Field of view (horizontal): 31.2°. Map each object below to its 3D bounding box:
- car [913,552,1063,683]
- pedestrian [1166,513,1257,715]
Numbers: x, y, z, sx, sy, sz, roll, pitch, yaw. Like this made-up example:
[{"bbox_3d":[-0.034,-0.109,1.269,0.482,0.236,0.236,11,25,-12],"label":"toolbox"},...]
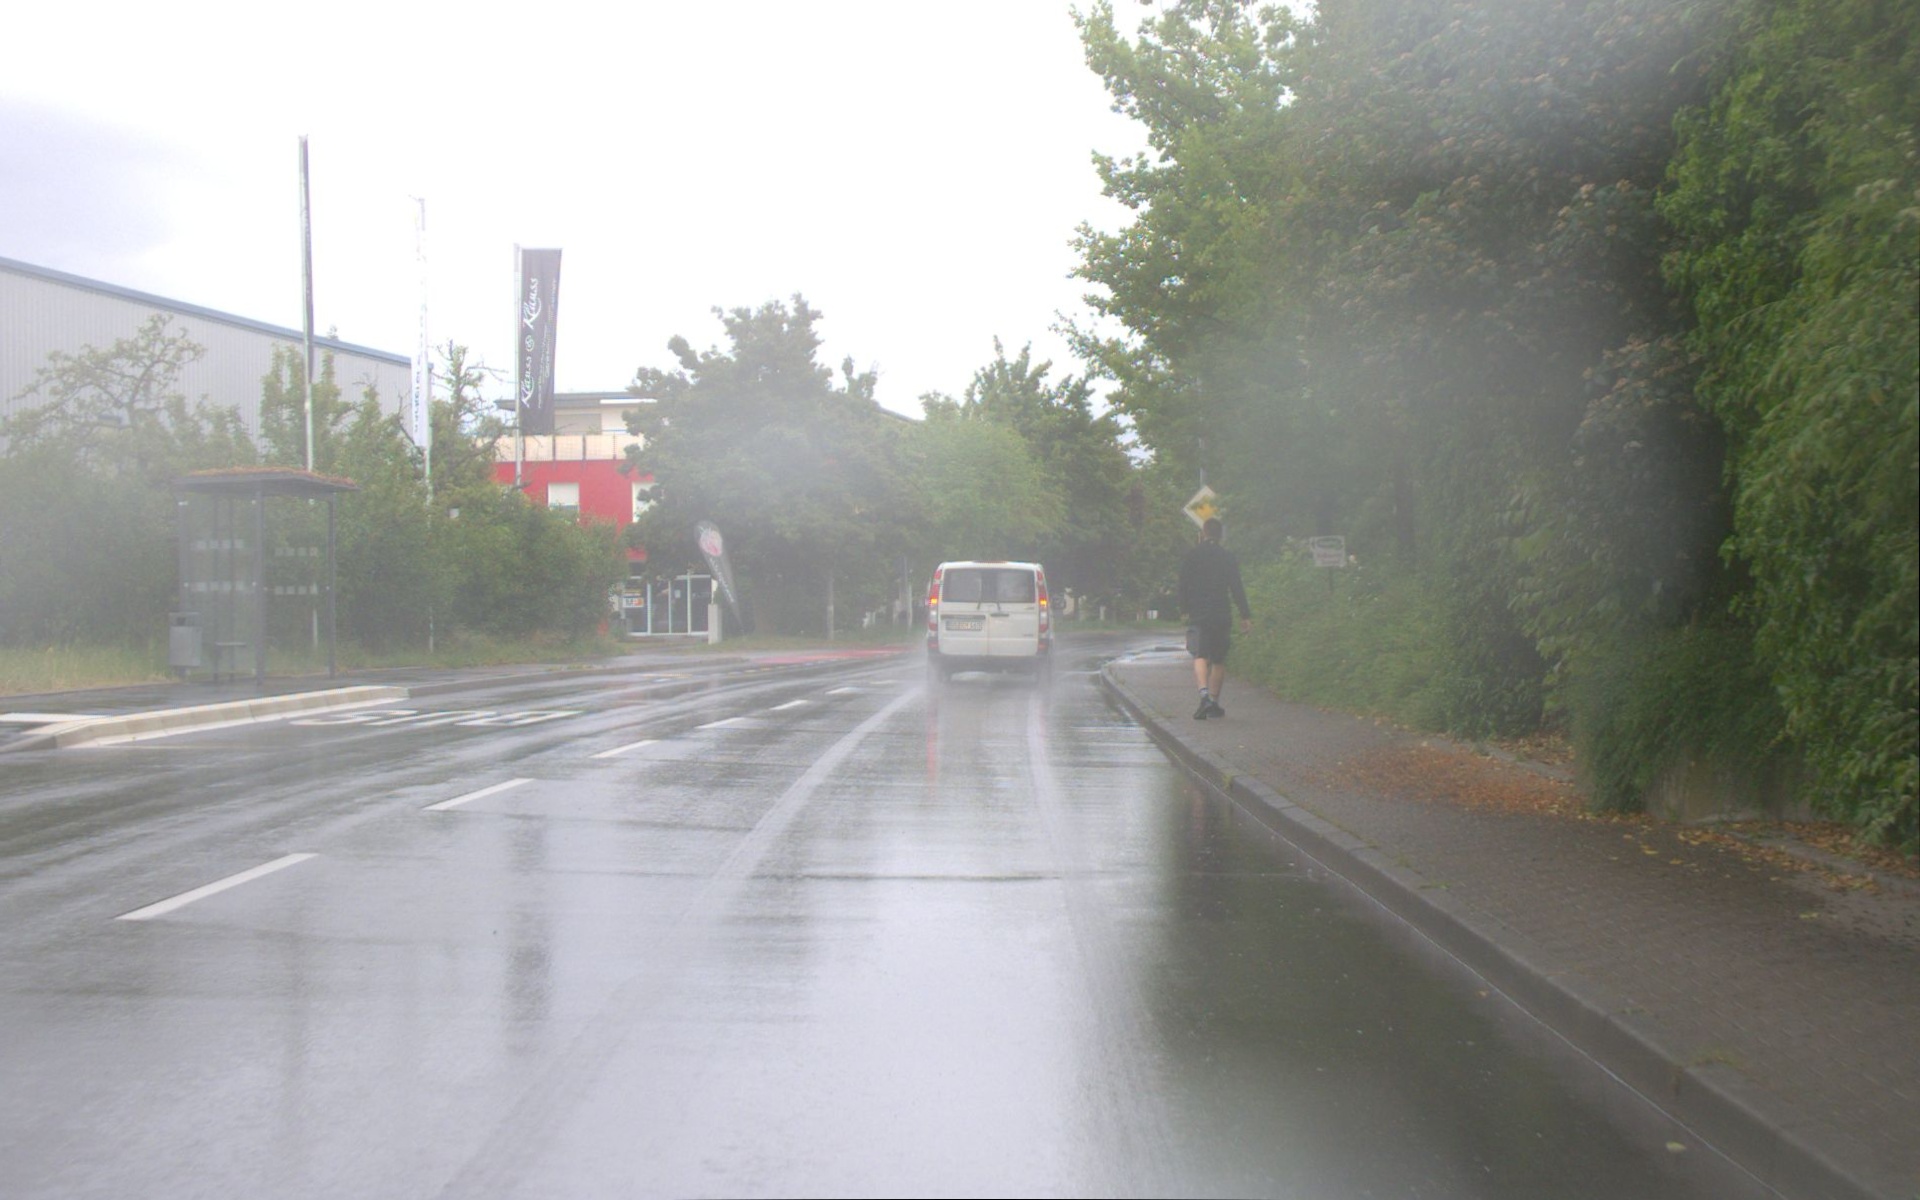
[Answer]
[{"bbox_3d":[0.473,0.240,52.495,2.117,1.881,4.501,1,1,2],"label":"car"},{"bbox_3d":[2.332,0.127,31.931,0.745,1.831,0.890,-1,0,0],"label":"pedestrian"}]
